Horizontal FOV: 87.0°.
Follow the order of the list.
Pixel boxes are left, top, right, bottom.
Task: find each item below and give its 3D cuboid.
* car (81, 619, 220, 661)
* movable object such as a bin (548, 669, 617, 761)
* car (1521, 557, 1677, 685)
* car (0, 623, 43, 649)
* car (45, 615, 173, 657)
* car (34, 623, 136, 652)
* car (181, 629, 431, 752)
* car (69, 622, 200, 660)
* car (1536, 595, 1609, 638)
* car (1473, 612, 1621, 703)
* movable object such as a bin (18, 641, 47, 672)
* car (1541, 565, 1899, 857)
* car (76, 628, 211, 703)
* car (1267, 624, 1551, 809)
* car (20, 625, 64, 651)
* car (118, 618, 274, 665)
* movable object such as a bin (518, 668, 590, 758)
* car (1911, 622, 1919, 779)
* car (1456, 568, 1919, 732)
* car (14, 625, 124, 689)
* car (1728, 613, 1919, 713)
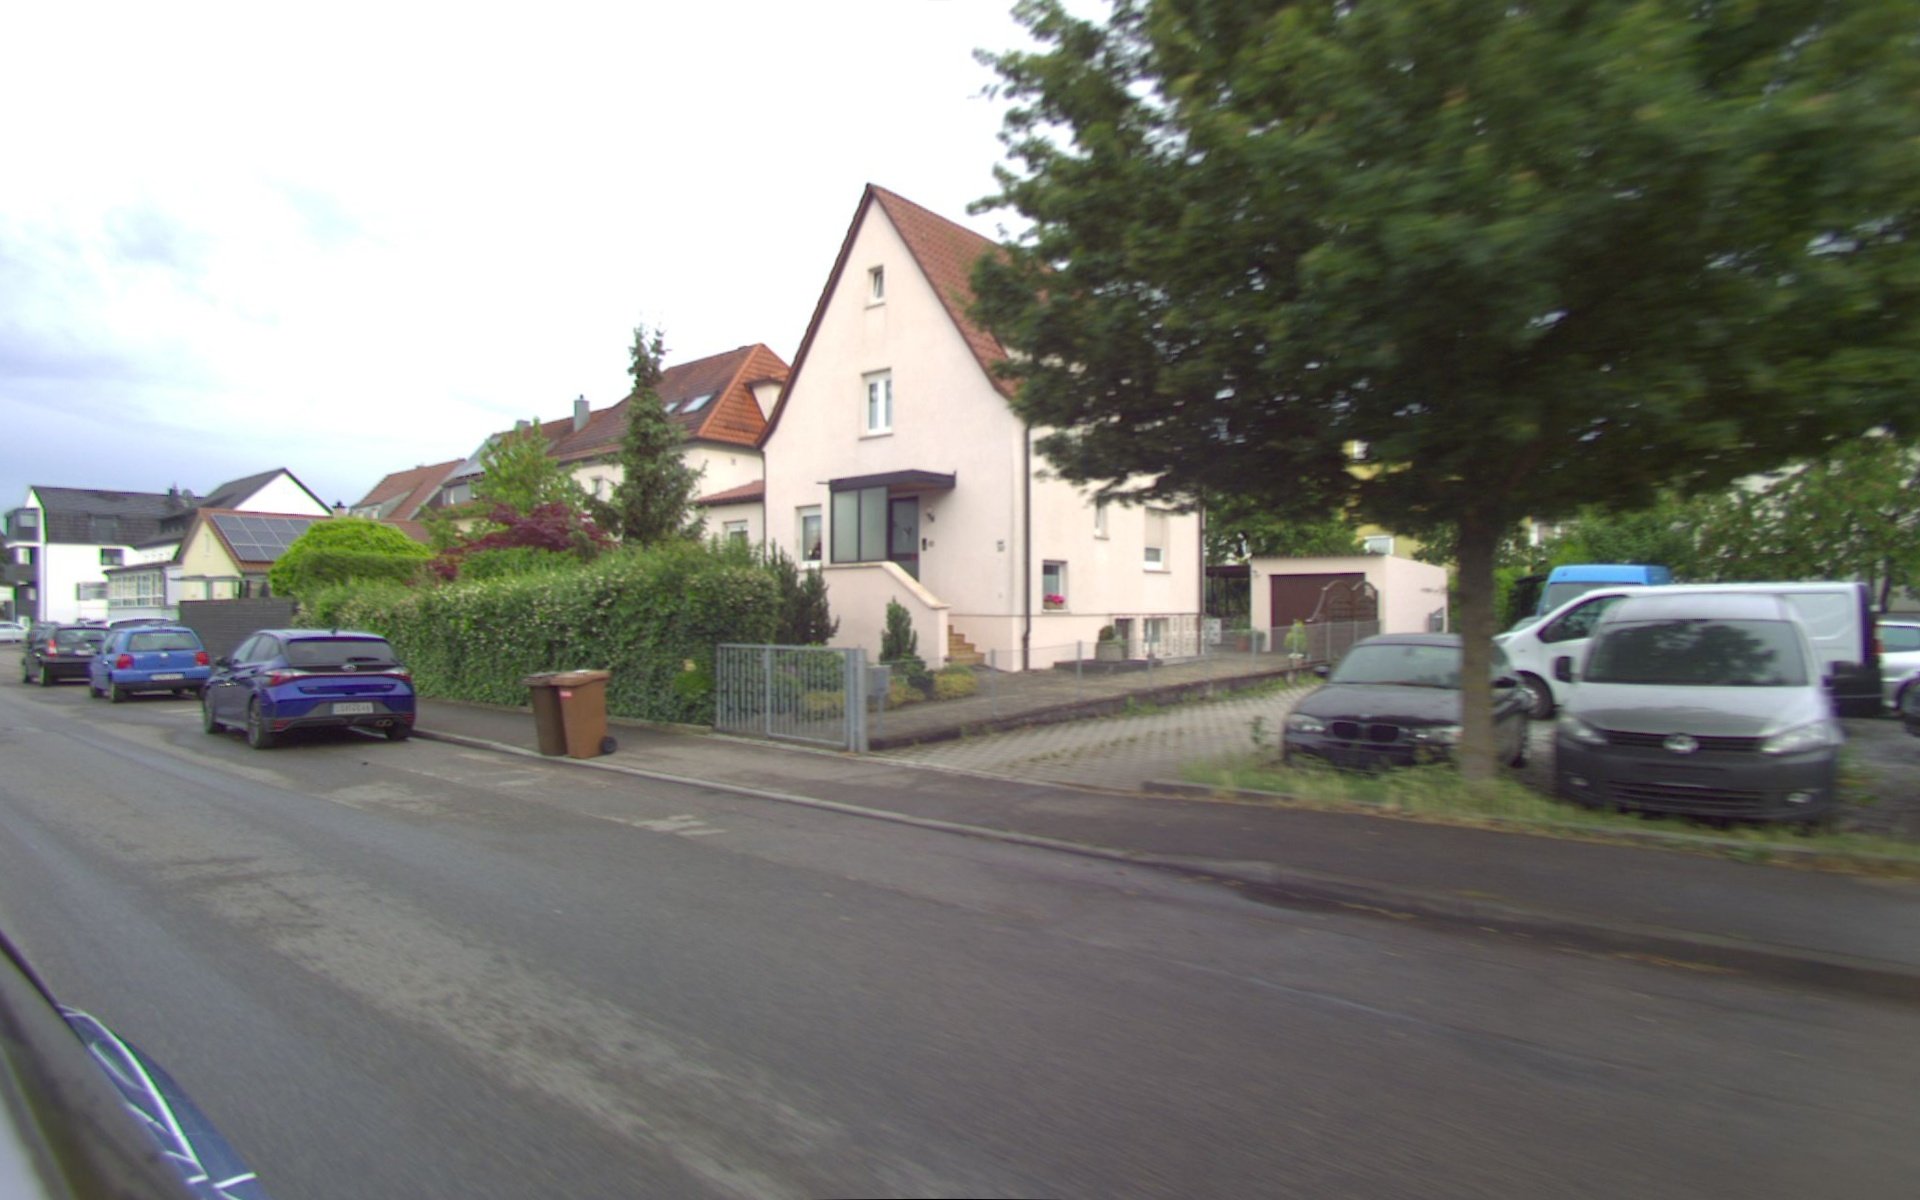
[{"bbox_3d":[-32.392,1.580,40.574,1.880,1.525,4.047,-2,-1,37],"label":"car"},{"bbox_3d":[-4.142,1.250,11.105,0.424,0.917,0.535,-2,2,39],"label":"movable object such as a bin"},{"bbox_3d":[13.827,0.384,21.714,2.046,2.392,5.612,-2,0,40],"label":"car"},{"bbox_3d":[-68.611,2.685,72.551,1.998,1.659,3.950,-2,2,38],"label":"car"},{"bbox_3d":[-38.652,1.625,46.046,1.995,1.544,4.049,-9,-4,34],"label":"car"},{"bbox_3d":[-46.208,1.949,53.478,1.766,1.449,3.835,-2,-2,39],"label":"car"},{"bbox_3d":[-8.889,1.105,13.635,3.942,1.414,1.788,-2,-3,41],"label":"car"},{"bbox_3d":[-35.390,1.733,43.478,1.752,1.514,4.049,-2,-1,35],"label":"car"},{"bbox_3d":[21.679,0.552,35.769,1.628,1.431,3.580,-1,-1,40],"label":"car"},{"bbox_3d":[10.468,0.947,17.937,1.671,1.431,3.701,-2,-2,40],"label":"car"},{"bbox_3d":[-33.374,2.031,36.415,0.686,1.065,0.590,-4,2,41],"label":"movable object such as a bin"},{"bbox_3d":[6.358,0.719,8.653,1.894,1.804,4.516,-1,-1,36],"label":"car"},{"bbox_3d":[-16.816,1.287,20.799,3.595,1.414,1.529,-2,-3,41],"label":"car"},{"bbox_3d":[4.560,0.959,9.961,1.758,1.383,3.876,-1,-1,36],"label":"car"},{"bbox_3d":[-63.835,2.603,70.343,4.000,1.541,1.800,-2,4,43],"label":"car"},{"bbox_3d":[-26.521,1.412,35.236,1.711,1.424,4.046,-2,0,37],"label":"car"},{"bbox_3d":[-4.557,1.257,11.368,0.505,0.917,0.535,-2,2,39],"label":"movable object such as a bin"},{"bbox_3d":[8.321,0.883,7.051,1.894,1.429,4.516,-1,-1,36],"label":"car"},{"bbox_3d":[10.010,0.657,14.333,5.047,1.945,1.974,-2,-2,39],"label":"car"},{"bbox_3d":[-22.586,1.399,25.622,3.705,1.518,1.592,-2,-3,41],"label":"car"},{"bbox_3d":[12.978,0.866,14.492,3.112,1.343,1.371,-1,-1,39],"label":"car"}]
